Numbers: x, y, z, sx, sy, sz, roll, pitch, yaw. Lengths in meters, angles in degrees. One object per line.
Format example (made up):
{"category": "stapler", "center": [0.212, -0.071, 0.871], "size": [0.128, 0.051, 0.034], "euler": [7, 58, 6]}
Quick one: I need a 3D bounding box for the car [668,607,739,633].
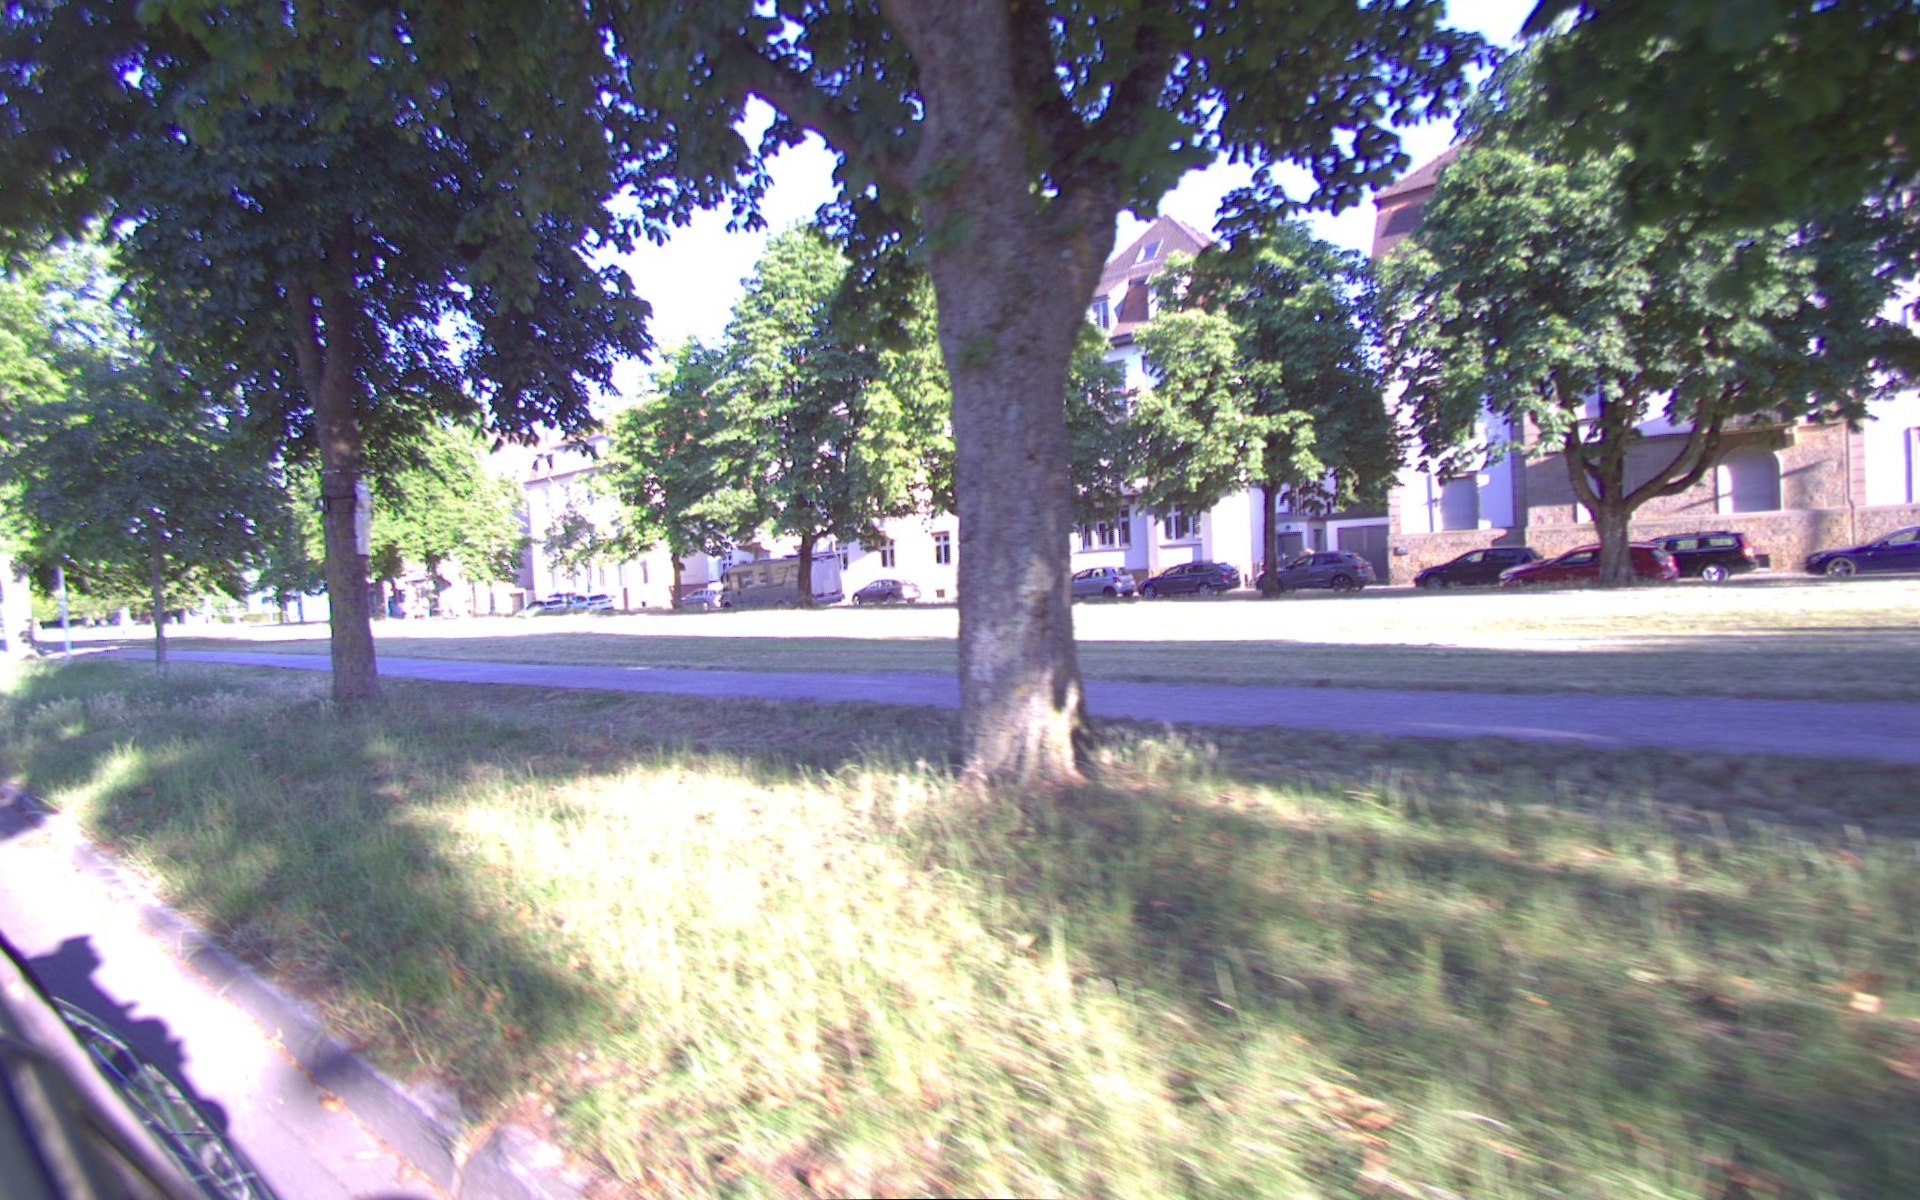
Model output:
{"category": "car", "center": [-16.831, 1.305, 66.244], "size": [4.872, 1.464, 1.974], "euler": [-2, 2, 40]}

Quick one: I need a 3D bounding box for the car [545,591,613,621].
{"category": "car", "center": [-24.488, 0.423, 65.012], "size": [4.874, 1.703, 1.973], "euler": [-2, 2, 42]}

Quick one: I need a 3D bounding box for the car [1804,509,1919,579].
{"category": "car", "center": [26.551, -1.617, 27.827], "size": [5.001, 1.763, 1.975], "euler": [-3, 1, 38]}

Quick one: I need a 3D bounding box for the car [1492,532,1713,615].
{"category": "car", "center": [17.767, -0.693, 28.159], "size": [4.875, 2.028, 1.972], "euler": [-2, 2, 43]}

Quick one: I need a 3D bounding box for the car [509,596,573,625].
{"category": "car", "center": [-28.415, 0.711, 68.578], "size": [4.874, 1.703, 1.973], "euler": [-2, 2, 42]}

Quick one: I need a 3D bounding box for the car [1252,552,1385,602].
{"category": "car", "center": [13.815, -0.860, 39.119], "size": [4.425, 1.664, 1.974], "euler": [-2, 2, 40]}

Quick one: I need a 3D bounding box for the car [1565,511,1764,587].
{"category": "car", "center": [22.026, -1.553, 31.771], "size": [4.875, 2.028, 1.972], "euler": [-2, 2, 43]}

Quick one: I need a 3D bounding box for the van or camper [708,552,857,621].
{"category": "van or camper", "center": [-9.244, -0.652, 52.082], "size": [7.893, 3.133, 3.221], "euler": [-2, 2, 42]}

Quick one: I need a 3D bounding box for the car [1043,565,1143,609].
{"category": "car", "center": [6.007, -0.588, 45.964], "size": [4.000, 1.747, 1.972], "euler": [-3, 1, 43]}

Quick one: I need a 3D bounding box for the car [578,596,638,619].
{"category": "car", "center": [-26.394, 0.581, 75.814], "size": [4.870, 1.464, 1.974], "euler": [-2, 2, 39]}

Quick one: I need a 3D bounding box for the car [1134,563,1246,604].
{"category": "car", "center": [9.756, -0.691, 43.114], "size": [4.163, 1.440, 1.975], "euler": [-3, 1, 38]}

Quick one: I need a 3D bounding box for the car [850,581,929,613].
{"category": "car", "center": [-3.859, -0.171, 54.907], "size": [3.998, 1.475, 1.974], "euler": [-2, 2, 41]}

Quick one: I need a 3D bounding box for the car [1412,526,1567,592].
{"category": "car", "center": [18.361, -1.401, 35.188], "size": [4.425, 2.028, 1.974], "euler": [-2, 2, 40]}
